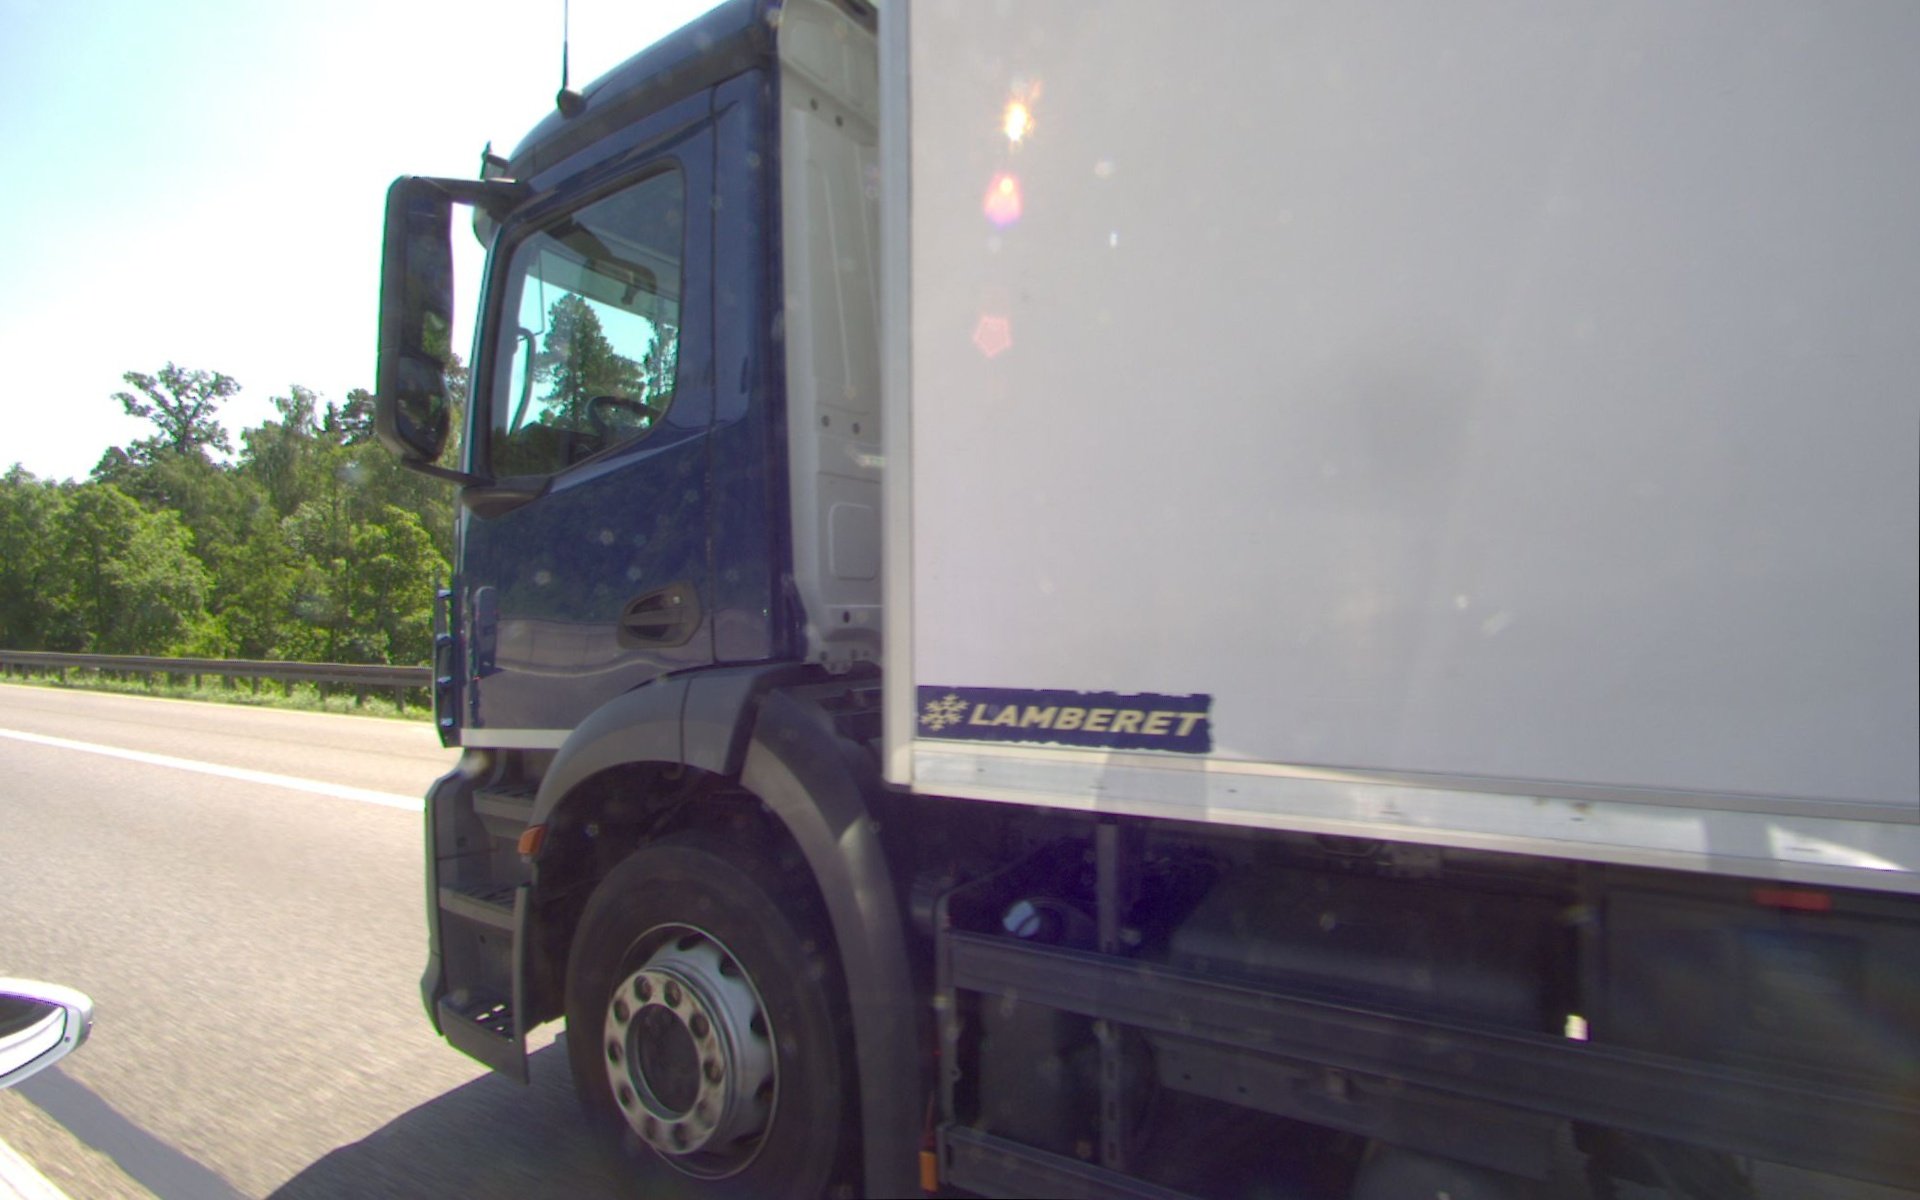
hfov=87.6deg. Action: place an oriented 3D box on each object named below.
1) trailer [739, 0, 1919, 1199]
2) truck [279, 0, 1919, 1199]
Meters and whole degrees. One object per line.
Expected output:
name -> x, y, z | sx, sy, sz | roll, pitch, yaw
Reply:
trailer -> 3.534, -0.026, 0.941 | 7.768, 2.936, 2.552 | 0, -1, 32
truck -> 0.370, 0.061, 2.967 | 4.046, 2.978, 2.551 | -1, -1, 32
